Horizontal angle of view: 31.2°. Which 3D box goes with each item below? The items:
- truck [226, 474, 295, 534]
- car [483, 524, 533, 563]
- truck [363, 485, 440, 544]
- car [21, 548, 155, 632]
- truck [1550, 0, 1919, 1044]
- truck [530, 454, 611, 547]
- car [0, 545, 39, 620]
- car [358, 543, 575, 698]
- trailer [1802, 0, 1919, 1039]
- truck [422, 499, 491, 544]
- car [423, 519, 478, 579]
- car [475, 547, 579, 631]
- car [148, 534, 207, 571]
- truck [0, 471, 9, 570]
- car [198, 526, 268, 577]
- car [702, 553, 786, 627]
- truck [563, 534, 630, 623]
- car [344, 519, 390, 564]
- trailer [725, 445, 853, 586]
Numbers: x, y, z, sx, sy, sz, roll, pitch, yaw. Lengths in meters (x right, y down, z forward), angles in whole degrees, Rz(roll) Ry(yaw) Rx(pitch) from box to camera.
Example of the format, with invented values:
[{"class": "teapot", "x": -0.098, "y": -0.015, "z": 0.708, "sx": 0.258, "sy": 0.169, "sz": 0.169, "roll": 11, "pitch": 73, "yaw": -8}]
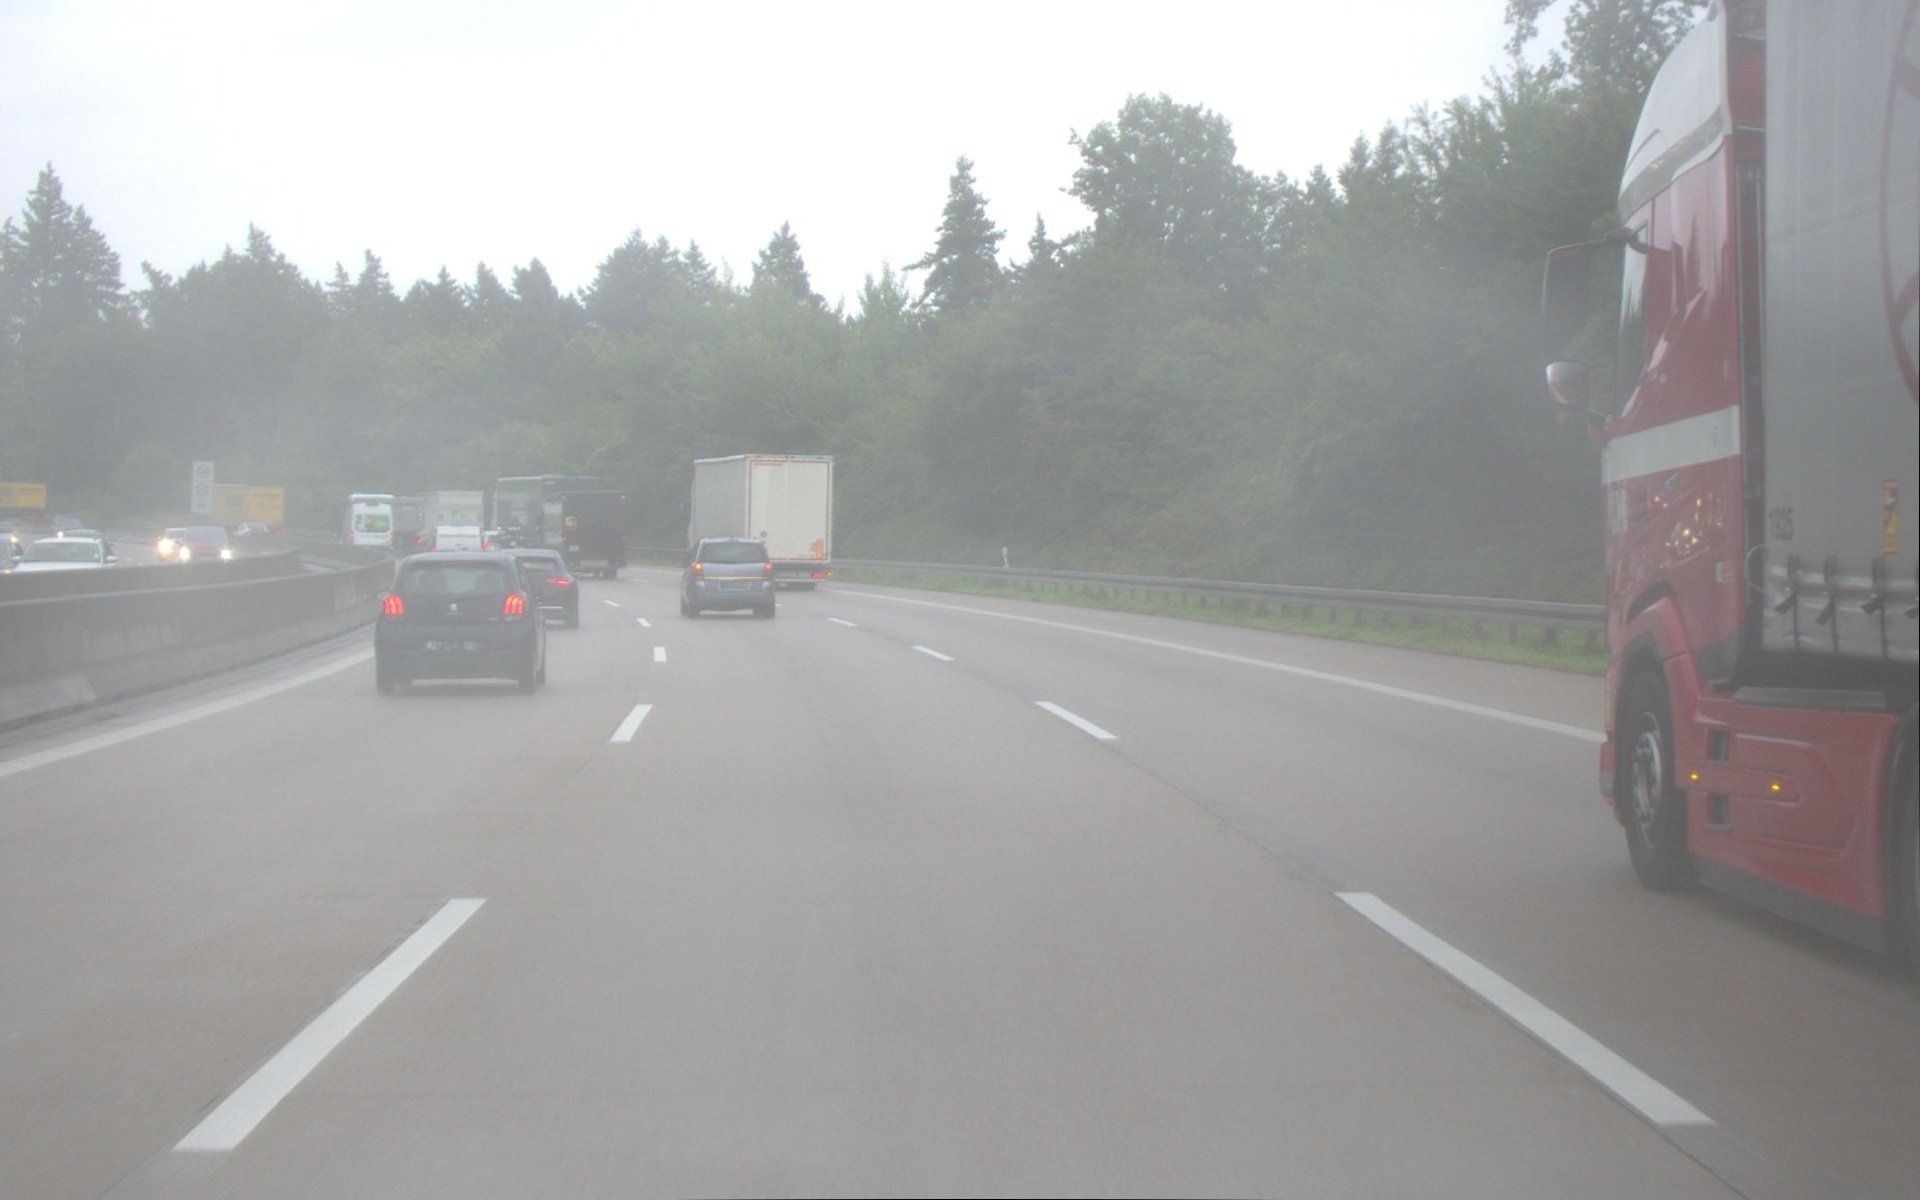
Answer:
[{"class": "truck", "x": -49.605, "y": -6.753, "z": 243.666, "sx": 3.739, "sy": 4.195, "sz": 6.820, "roll": 0, "pitch": 1, "yaw": -20}, {"class": "car", "x": -18.340, "y": -2.305, "z": 139.664, "sx": 1.881, "sy": 1.468, "sz": 4.001, "roll": 2, "pitch": 1, "yaw": -6}, {"class": "truck", "x": -29.334, "y": -4.511, "z": 180.367, "sx": 3.081, "sy": 2.895, "sz": 7.906, "roll": 1, "pitch": 2, "yaw": -16}, {"class": "car", "x": -16.705, "y": -0.221, "z": 66.018, "sx": 1.741, "sy": 1.555, "sz": 4.284, "roll": 0, "pitch": 1, "yaw": -4}, {"class": "truck", "x": 4.079, "y": -0.666, "z": 13.349, "sx": 2.375, "sy": 3.940, "sz": 6.160, "roll": -1, "pitch": 1, "yaw": -1}, {"class": "truck", "x": -18.092, "y": -4.623, "z": 159.281, "sx": 3.368, "sy": 4.117, "sz": 10.440, "roll": 1, "pitch": 2, "yaw": -8}, {"class": "car", "x": -22.434, "y": -0.425, "z": 79.363, "sx": 1.808, "sy": 1.678, "sz": 4.001, "roll": 0, "pitch": 1, "yaw": -8}, {"class": "car", "x": -5.094, "y": 0.173, "z": 35.911, "sx": 1.684, "sy": 1.457, "sz": 3.684, "roll": 3, "pitch": 1, "yaw": 0}, {"class": "trailer", "x": 4.189, "y": -0.540, "z": 5.711, "sx": 2.370, "sy": 3.940, "sz": 12.521, "roll": 0, "pitch": 1, "yaw": -1}, {"class": "truck", "x": -27.946, "y": -4.372, "z": 190.548, "sx": 2.973, "sy": 2.301, "sz": 6.669, "roll": 2, "pitch": 1, "yaw": -15}, {"class": "car", "x": -17.258, "y": -1.744, "z": 116.503, "sx": 1.725, "sy": 2.007, "sz": 3.658, "roll": 0, "pitch": 1, "yaw": -7}, {"class": "car", "x": -7.658, "y": -0.218, "z": 61.019, "sx": 1.553, "sy": 1.347, "sz": 3.684, "roll": 2, "pitch": 1, "yaw": -4}, {"class": "car", "x": -33.735, "y": -2.059, "z": 148.345, "sx": 1.993, "sy": 1.579, "sz": 4.773, "roll": 0, "pitch": 1, "yaw": -7}, {"class": "truck", "x": -39.313, "y": -3.130, "z": 134.754, "sx": 2.926, "sy": 3.947, "sz": 8.120, "roll": 0, "pitch": 1, "yaw": -8}, {"class": "car", "x": -25.648, "y": -1.706, "z": 121.351, "sx": 1.993, "sy": 1.762, "sz": 4.538, "roll": 0, "pitch": 1, "yaw": -6}, {"class": "car", "x": -4.323, "y": -0.227, "z": 69.136, "sx": 1.553, "sy": 1.347, "sz": 3.684, "roll": 2, "pitch": 1, "yaw": -3}, {"class": "truck", "x": -13.087, "y": -0.831, "z": 123.838, "sx": 2.269, "sy": 2.877, "sz": 7.905, "roll": 1, "pitch": 2, "yaw": -6}, {"class": "car", "x": -27.728, "y": -2.730, "z": 160.851, "sx": 1.993, "sy": 2.052, "sz": 4.001, "roll": 0, "pitch": 1, "yaw": -8}, {"class": "trailer", "x": -5.368, "y": -2.643, "z": 105.798, "sx": 2.419, "sy": 4.054, "sz": 12.058, "roll": 1, "pitch": 2, "yaw": -10}]
